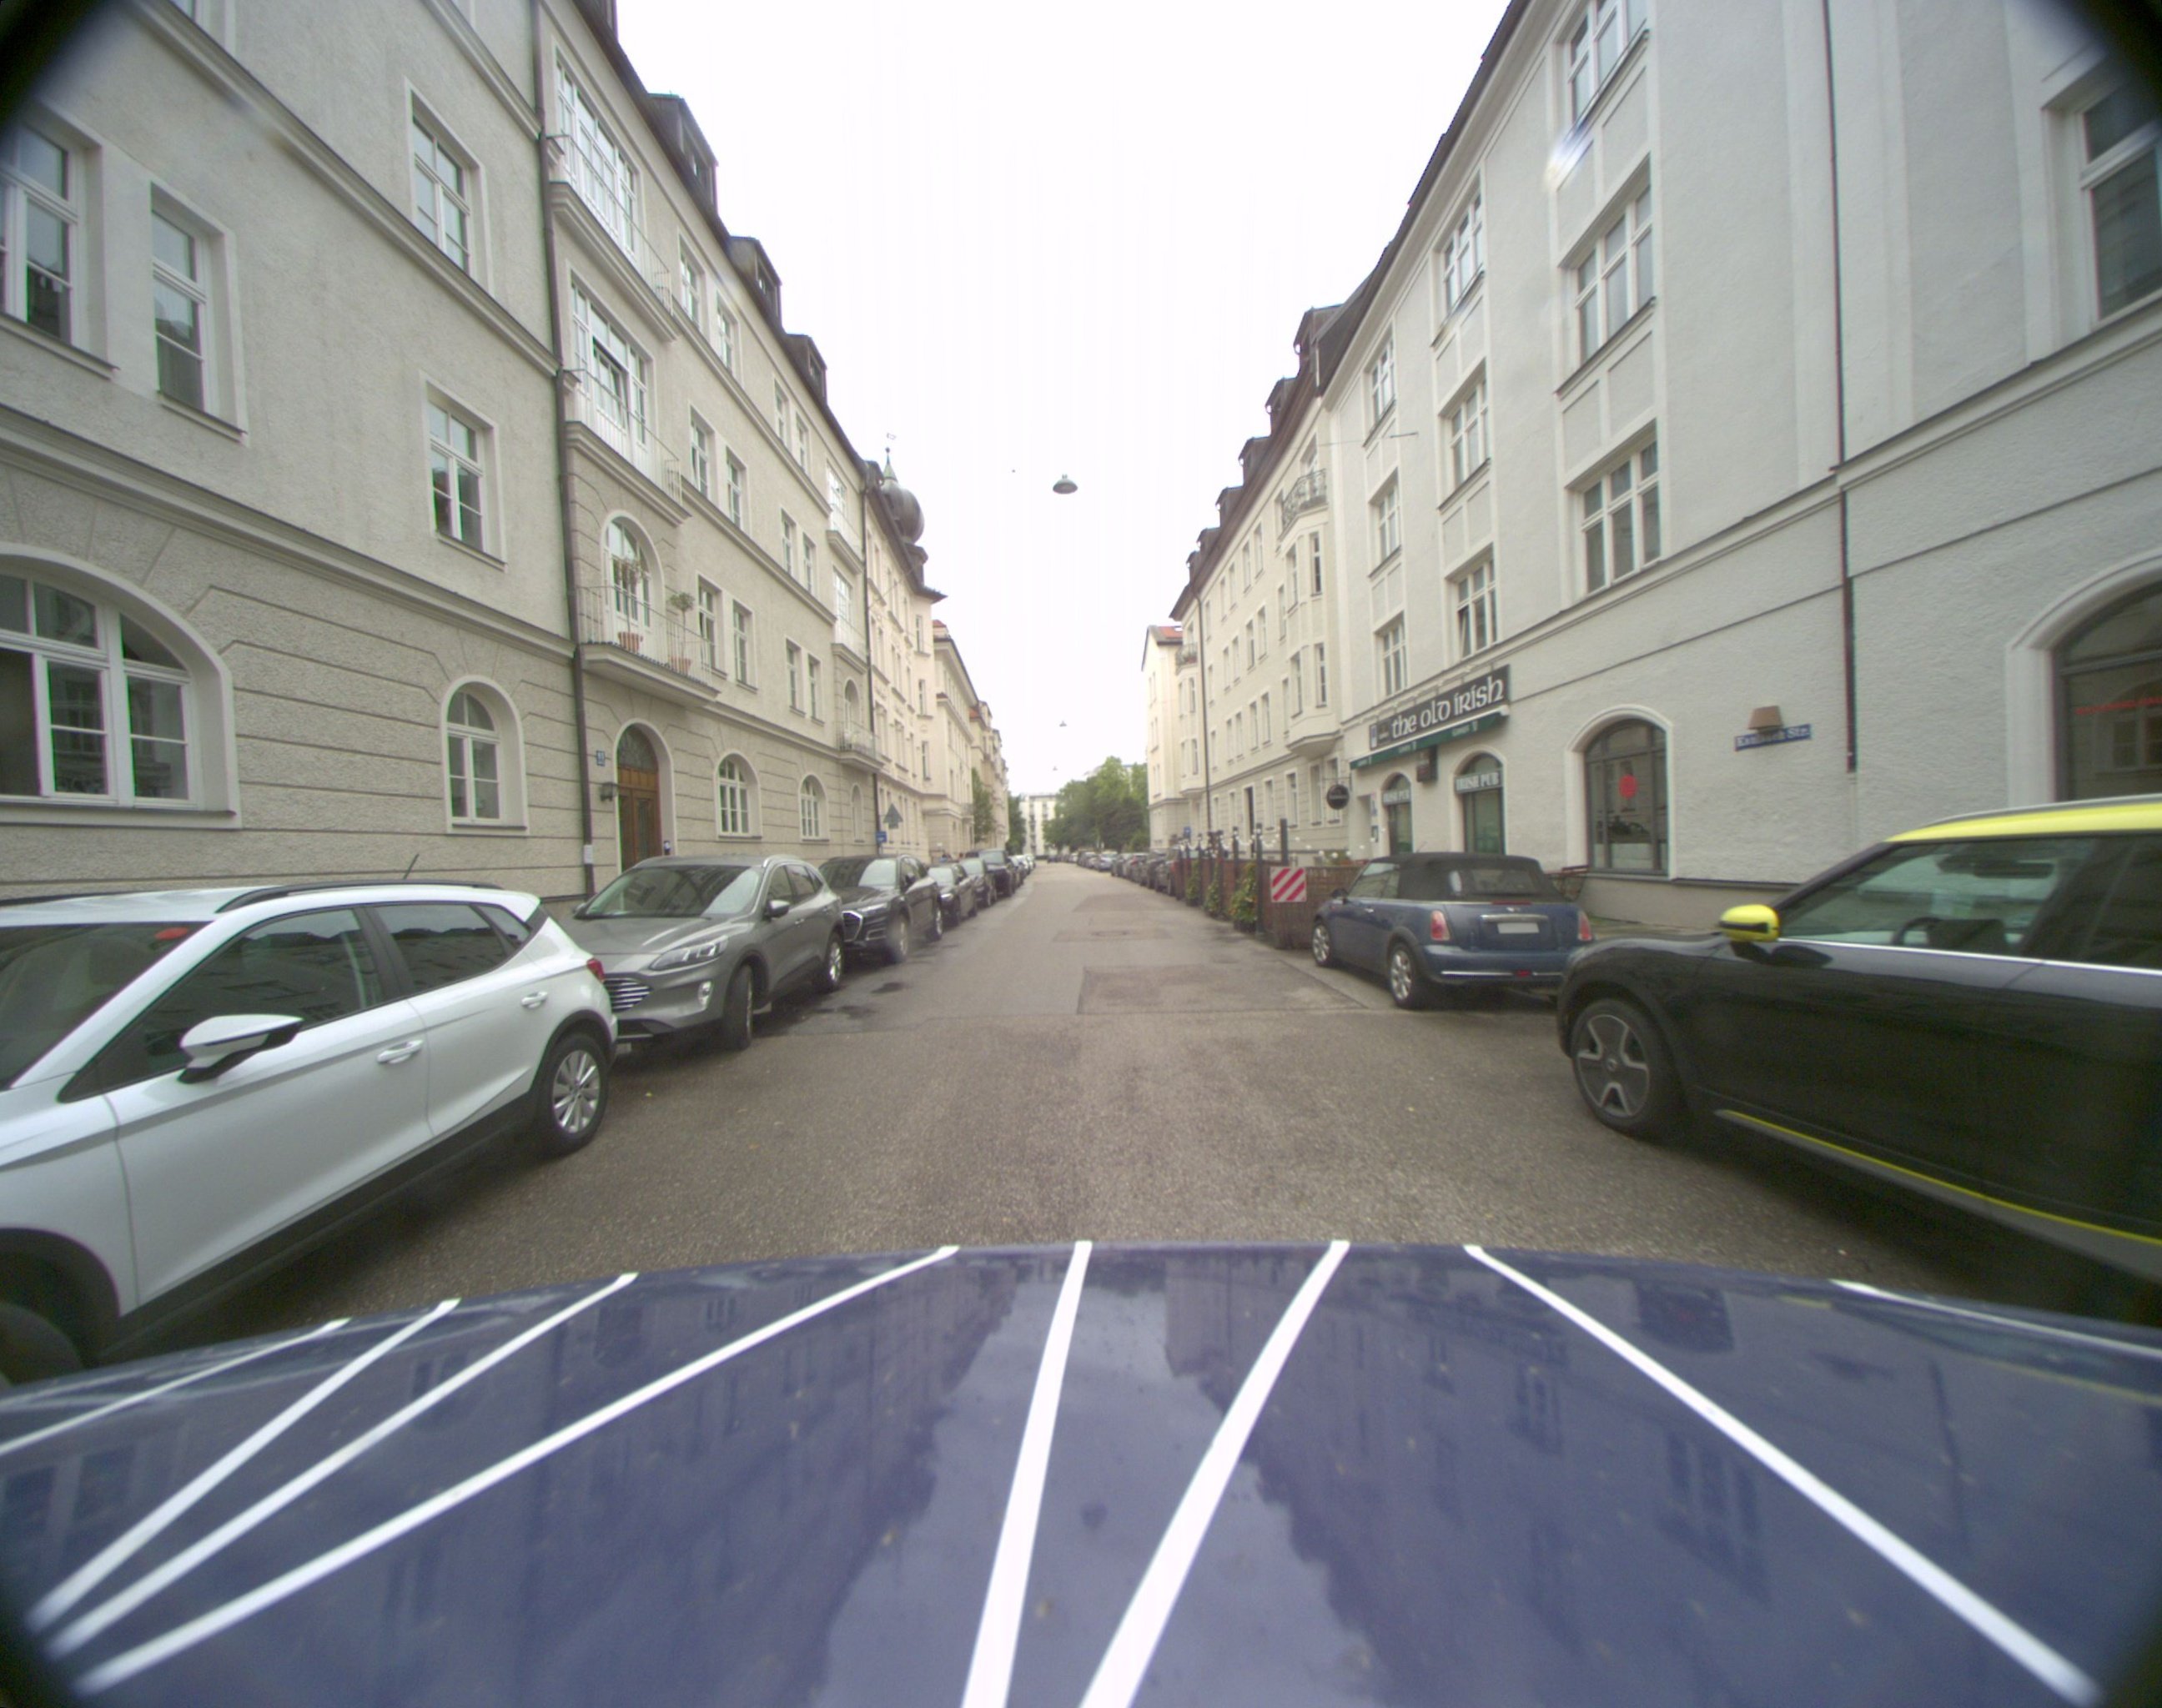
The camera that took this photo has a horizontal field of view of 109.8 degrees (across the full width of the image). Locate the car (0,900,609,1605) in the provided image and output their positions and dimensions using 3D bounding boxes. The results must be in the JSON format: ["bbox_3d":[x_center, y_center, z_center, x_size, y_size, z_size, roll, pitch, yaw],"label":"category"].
[{"bbox_3d":[-3.524,1.067,2.445,1.755,1.487,3.907,-3,1,-5],"label":"car"}]

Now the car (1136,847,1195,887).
[{"bbox_3d":[3.395,0.497,31.245,1.746,1.478,4.179,-2,1,-3],"label":"car"}]

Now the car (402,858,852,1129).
[{"bbox_3d":[-3.728,0.953,7.364,1.794,1.703,4.425,-2,1,-3],"label":"car"}]

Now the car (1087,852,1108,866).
[{"bbox_3d":[1.681,0.528,79.591,1.740,1.357,4.191,-1,0,-5],"label":"car"}]

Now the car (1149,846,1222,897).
[{"bbox_3d":[3.614,0.566,26.967,1.751,1.663,4.274,0,0,-3],"label":"car"}]

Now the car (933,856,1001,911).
[{"bbox_3d":[-3.554,0.870,24.236,1.659,1.516,3.636,-3,0,-2],"label":"car"}]

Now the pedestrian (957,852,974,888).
[{"bbox_3d":[-5.509,0.758,36.311,0.705,1.718,0.703,-2,1,-5],"label":"pedestrian"}]

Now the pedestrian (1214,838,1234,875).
[{"bbox_3d":[6.738,0.121,35.790,0.663,1.697,0.701,-2,1,31],"label":"pedestrian"}]

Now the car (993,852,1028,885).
[{"bbox_3d":[-3.782,0.768,41.141,1.712,1.578,3.998,-4,0,-4],"label":"car"}]

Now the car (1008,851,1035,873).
[{"bbox_3d":[-4.821,0.673,62.302,1.900,1.626,4.391,-2,0,-1],"label":"car"}]

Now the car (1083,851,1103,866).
[{"bbox_3d":[1.318,0.494,83.412,1.773,1.412,3.997,-2,1,-5],"label":"car"}]

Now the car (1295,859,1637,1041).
[{"bbox_3d":[3.667,0.790,8.126,1.711,1.382,4.000,-1,1,2],"label":"car"}]

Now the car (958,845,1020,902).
[{"bbox_3d":[-3.483,0.676,29.591,1.916,1.874,4.712,-5,1,-2],"label":"car"}]

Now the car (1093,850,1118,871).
[{"bbox_3d":[1.942,0.511,60.650,1.701,1.571,4.061,0,0,-2],"label":"car"}]

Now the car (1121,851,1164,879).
[{"bbox_3d":[3.289,0.562,41.515,1.799,1.411,4.509,0,1,-2],"label":"car"}]

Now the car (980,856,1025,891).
[{"bbox_3d":[-3.623,0.853,35.551,1.668,1.387,3.581,-4,1,0],"label":"car"}]

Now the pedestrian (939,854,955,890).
[{"bbox_3d":[-6.250,0.854,35.544,0.681,1.664,0.654,0,1,-5],"label":"pedestrian"}]

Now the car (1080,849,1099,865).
[{"bbox_3d":[0.985,0.332,89.059,1.811,1.638,4.483,-4,0,-3],"label":"car"}]

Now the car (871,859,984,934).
[{"bbox_3d":[-3.539,0.918,18.269,1.711,1.462,4.201,-2,0,1],"label":"car"}]

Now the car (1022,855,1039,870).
[{"bbox_3d":[-5.569,0.908,83.305,1.668,1.499,4.063,-3,0,-5],"label":"car"}]

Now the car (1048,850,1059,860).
[{"bbox_3d":[-4.993,0.158,138.209,1.729,1.525,4.082,-3,2,-4],"label":"car"}]

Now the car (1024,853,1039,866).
[{"bbox_3d":[-6.336,0.684,97.772,1.646,1.409,3.999,-3,1,-2],"label":"car"}]

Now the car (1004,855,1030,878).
[{"bbox_3d":[-4.397,0.855,52.624,1.617,1.387,3.998,-4,0,-3],"label":"car"}]

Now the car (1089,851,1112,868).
[{"bbox_3d":[1.838,0.463,71.246,1.802,1.426,4.078,-3,1,-3],"label":"car"}]

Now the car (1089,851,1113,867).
[{"bbox_3d":[1.713,0.421,66.330,1.649,1.395,3.998,0,0,-5],"label":"car"}]

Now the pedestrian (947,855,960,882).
[{"bbox_3d":[-7.777,0.870,46.217,0.684,1.669,0.812,0,0,-3],"label":"pedestrian"}]

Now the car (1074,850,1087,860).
[{"bbox_3d":[-0.127,0.141,121.479,1.705,1.483,3.954,-1,0,-4],"label":"car"}]

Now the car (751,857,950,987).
[{"bbox_3d":[-3.506,0.932,12.507,1.781,1.626,4.375,-4,0,1],"label":"car"}]

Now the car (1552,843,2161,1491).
[{"bbox_3d":[3.497,0.766,2.289,1.681,1.588,3.944,0,1,-1],"label":"car"}]

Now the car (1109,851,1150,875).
[{"bbox_3d":[2.979,0.532,47.692,1.855,1.359,4.700,-3,0,-5],"label":"car"}]
